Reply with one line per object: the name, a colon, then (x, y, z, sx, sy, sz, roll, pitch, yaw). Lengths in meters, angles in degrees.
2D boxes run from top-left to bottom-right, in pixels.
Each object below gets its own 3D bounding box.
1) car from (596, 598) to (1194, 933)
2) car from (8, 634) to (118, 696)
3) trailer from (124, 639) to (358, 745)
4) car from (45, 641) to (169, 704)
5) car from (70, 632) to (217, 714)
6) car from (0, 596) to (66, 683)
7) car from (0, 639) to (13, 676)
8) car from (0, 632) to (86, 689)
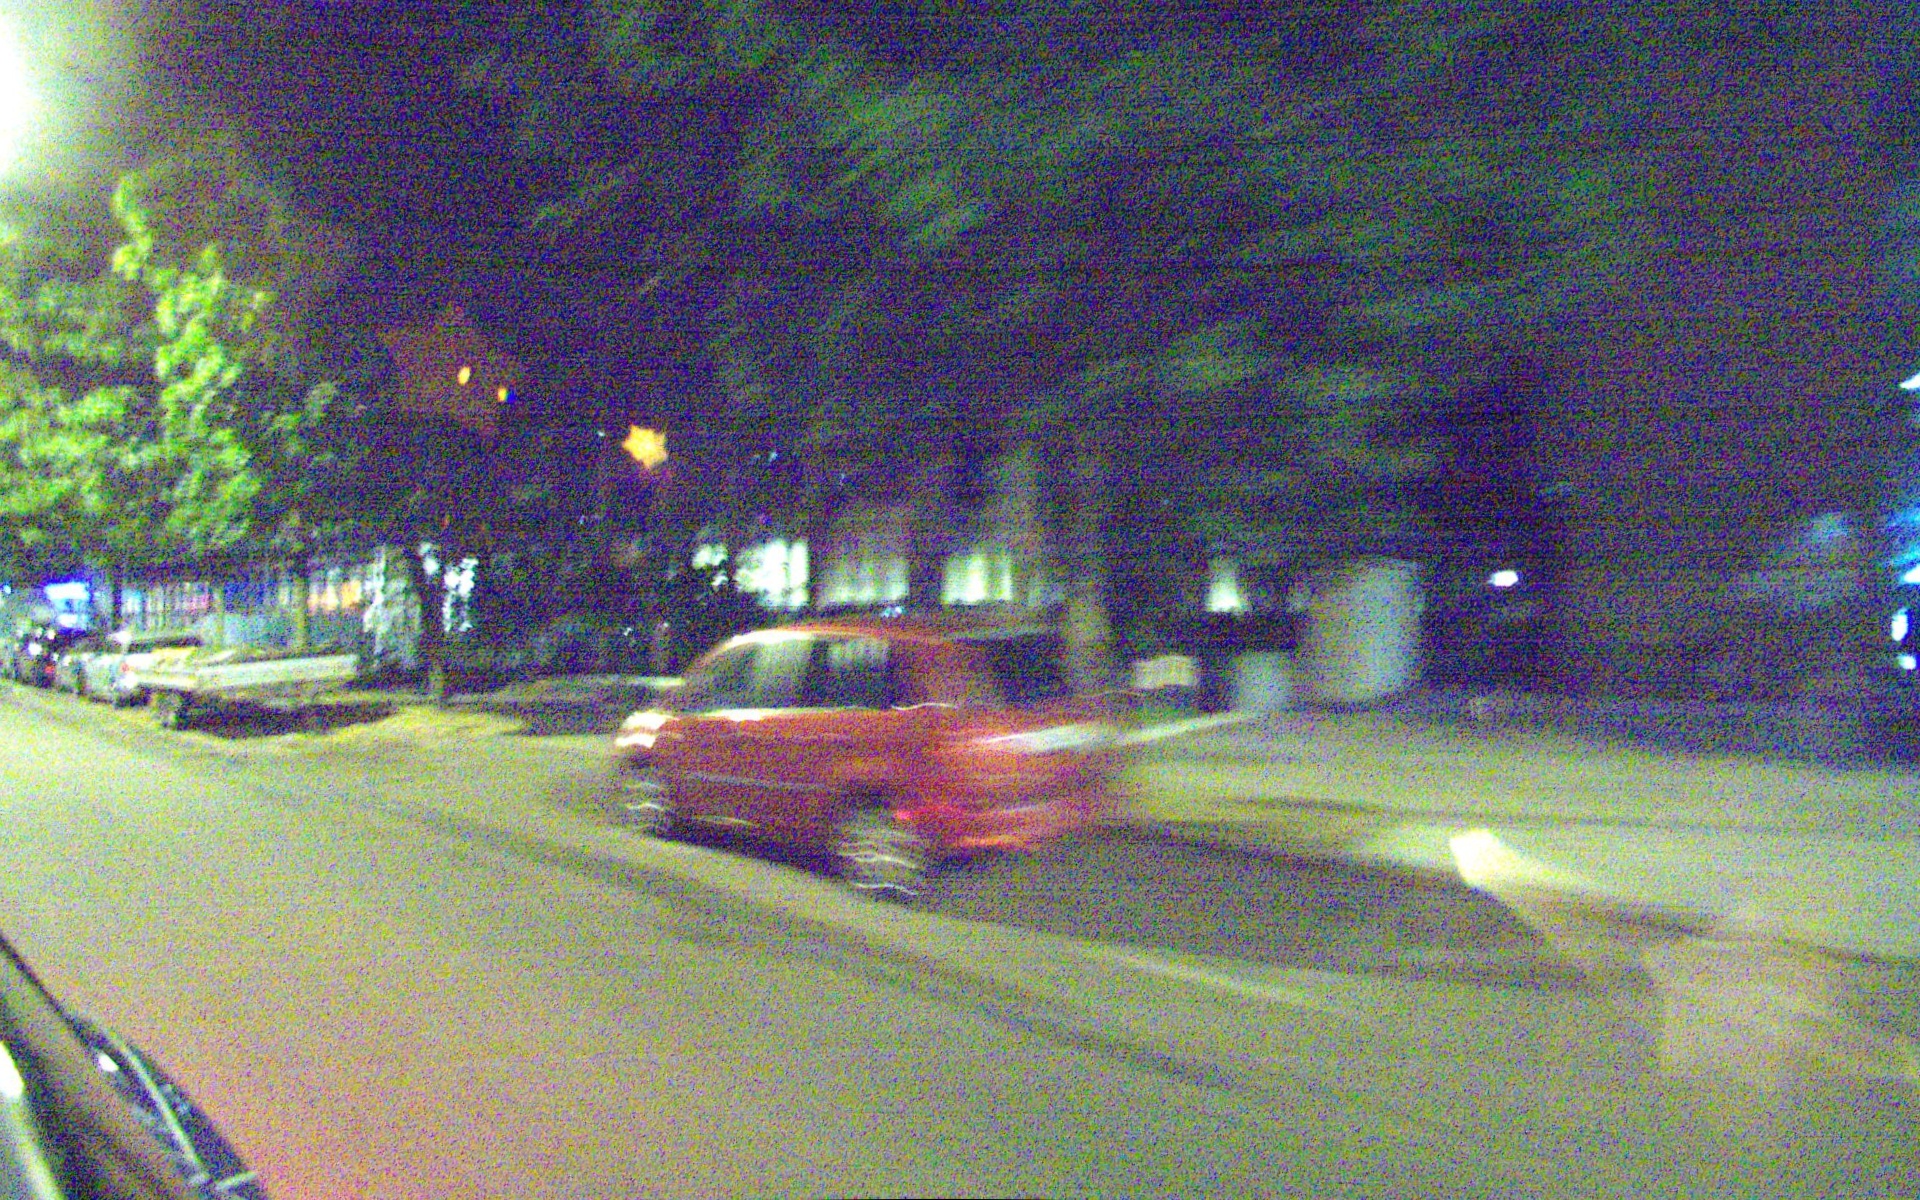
car: (-0.661, 0.864, 7.033, 4.072, 1.611, 1.803, -2, 0, 42)
car: (-25.871, 1.815, 29.142, 4.293, 1.619, 1.725, -2, -2, 39)
trailer: (-12.265, 1.413, 17.091, 5.434, 1.345, 2.088, -2, 1, 42)
car: (-21.654, 1.768, 25.634, 4.630, 1.422, 1.687, -2, -2, 41)
car: (-17.941, 1.529, 22.169, 4.202, 1.513, 1.699, -2, 1, 40)
car: (-34.255, 1.397, 36.584, 4.906, 2.931, 2.157, -2, 0, 40)
car: (-41.574, 2.434, 42.956, 3.859, 1.516, 1.628, -2, -2, 41)
car: (-29.037, 1.881, 31.915, 4.115, 1.618, 1.723, -3, -1, 42)
